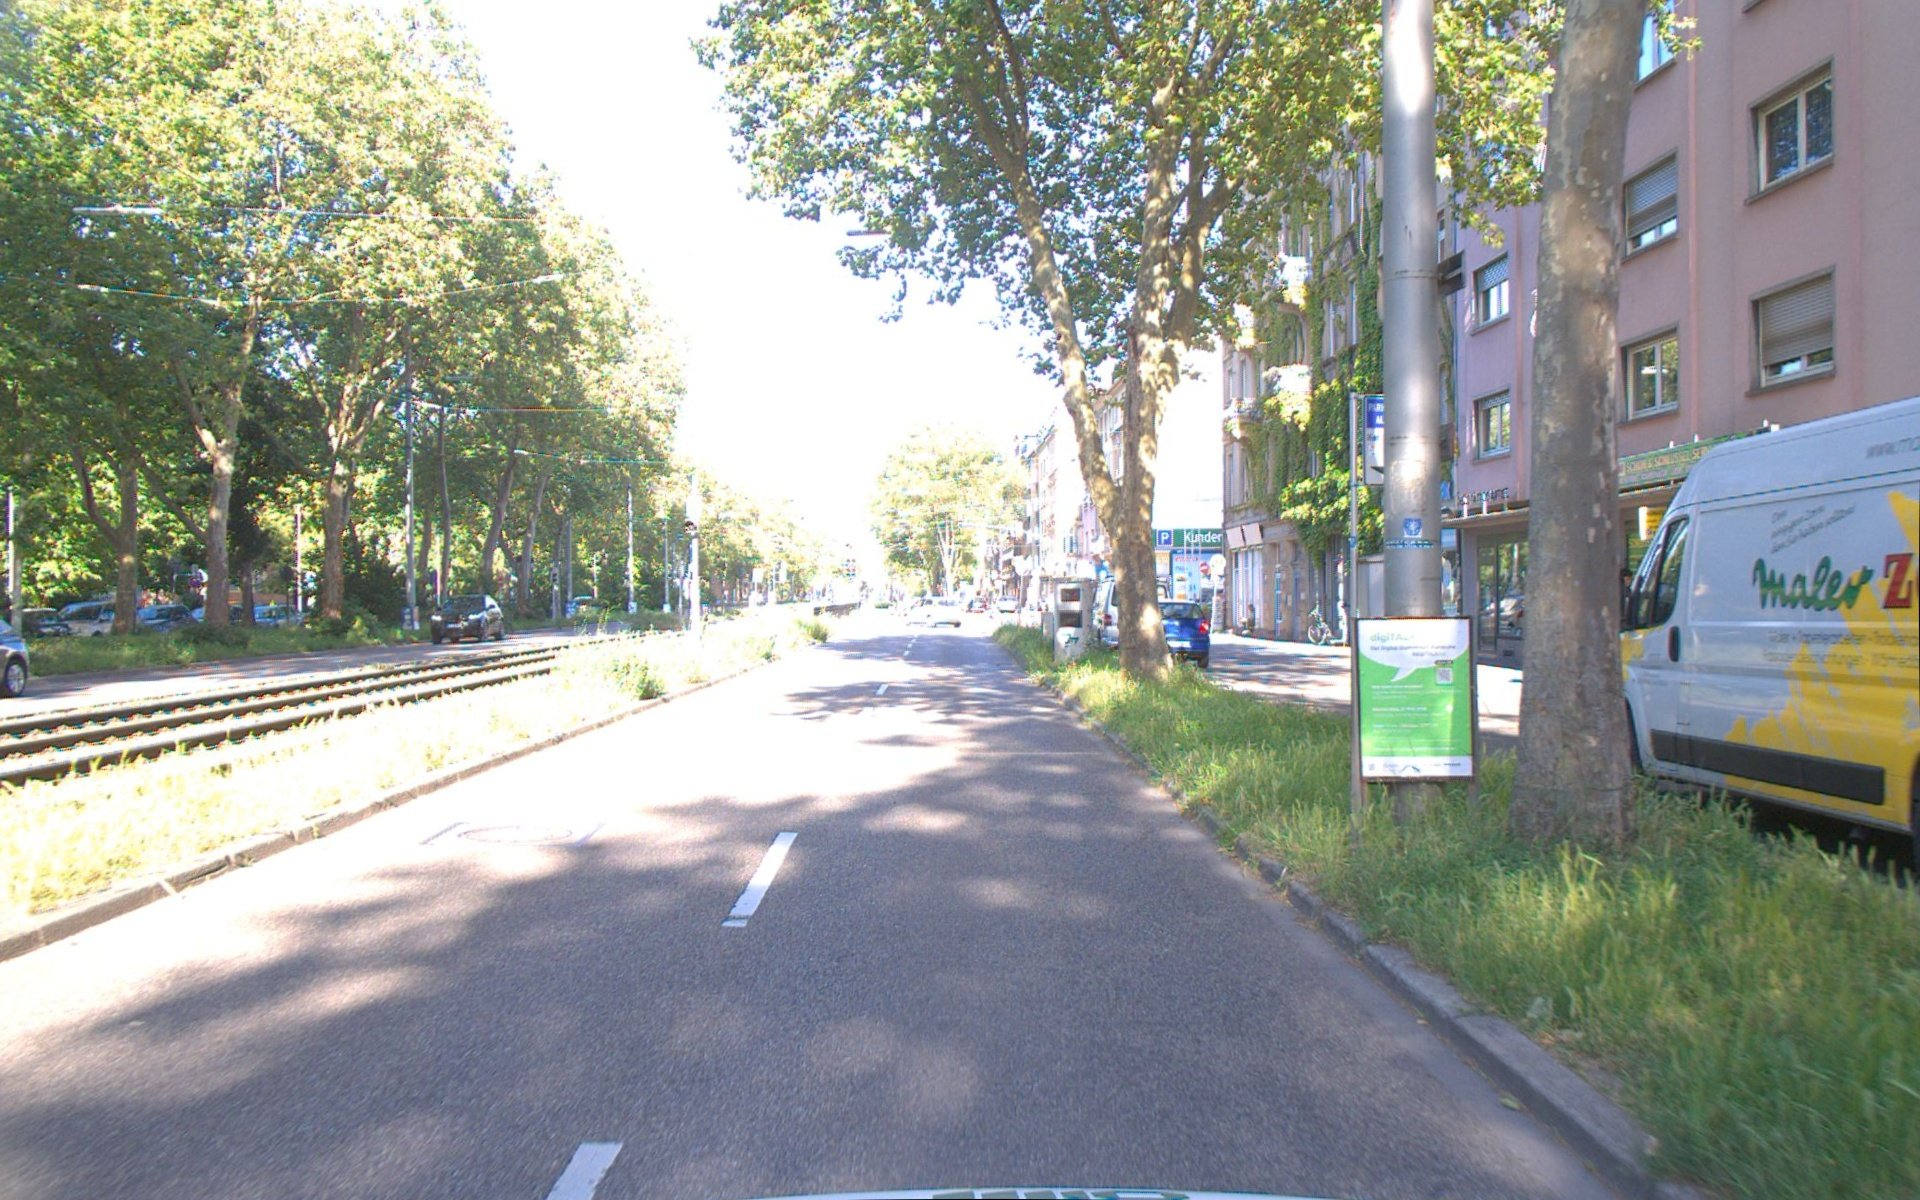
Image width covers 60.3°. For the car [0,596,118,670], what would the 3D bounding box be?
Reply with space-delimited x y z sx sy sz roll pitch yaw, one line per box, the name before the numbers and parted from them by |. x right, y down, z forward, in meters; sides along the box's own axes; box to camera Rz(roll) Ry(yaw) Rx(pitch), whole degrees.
car | -27.563 0.936 49.492 2.109 2.049 5.267 -1 1 -1

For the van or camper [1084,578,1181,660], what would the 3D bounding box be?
van or camper | 4.351 0.452 42.543 1.802 1.997 5.125 0 0 -2

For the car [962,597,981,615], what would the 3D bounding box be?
car | 1.009 0.518 146.238 1.648 1.535 3.667 0 0 0

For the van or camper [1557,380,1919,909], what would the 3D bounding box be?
van or camper | 5.676 0.229 9.673 2.139 2.524 6.268 1 0 1

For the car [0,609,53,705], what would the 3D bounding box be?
car | -16.288 0.977 25.894 1.759 1.534 4.338 -3 0 -1

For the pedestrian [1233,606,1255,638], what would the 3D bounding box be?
pedestrian | 10.708 0.834 62.460 0.693 1.171 0.740 -1 0 -1

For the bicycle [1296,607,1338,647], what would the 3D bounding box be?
bicycle | 10.833 0.814 50.229 0.868 1.154 2.400 -1 0 3

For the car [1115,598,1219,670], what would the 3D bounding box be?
car | 4.628 0.729 37.423 1.650 1.540 3.664 0 0 -4

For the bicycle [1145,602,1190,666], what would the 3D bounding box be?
bicycle | 3.466 0.557 27.665 0.576 1.008 1.450 -1 1 0

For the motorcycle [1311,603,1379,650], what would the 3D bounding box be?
motorcycle | 11.194 0.767 48.124 0.555 1.290 1.863 2 0 -45

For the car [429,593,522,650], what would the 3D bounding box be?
car | -17.600 0.745 60.328 1.953 1.903 4.872 -2 1 -1

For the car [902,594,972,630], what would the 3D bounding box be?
car | -1.168 0.559 81.481 1.996 1.691 3.968 -1 0 -25
